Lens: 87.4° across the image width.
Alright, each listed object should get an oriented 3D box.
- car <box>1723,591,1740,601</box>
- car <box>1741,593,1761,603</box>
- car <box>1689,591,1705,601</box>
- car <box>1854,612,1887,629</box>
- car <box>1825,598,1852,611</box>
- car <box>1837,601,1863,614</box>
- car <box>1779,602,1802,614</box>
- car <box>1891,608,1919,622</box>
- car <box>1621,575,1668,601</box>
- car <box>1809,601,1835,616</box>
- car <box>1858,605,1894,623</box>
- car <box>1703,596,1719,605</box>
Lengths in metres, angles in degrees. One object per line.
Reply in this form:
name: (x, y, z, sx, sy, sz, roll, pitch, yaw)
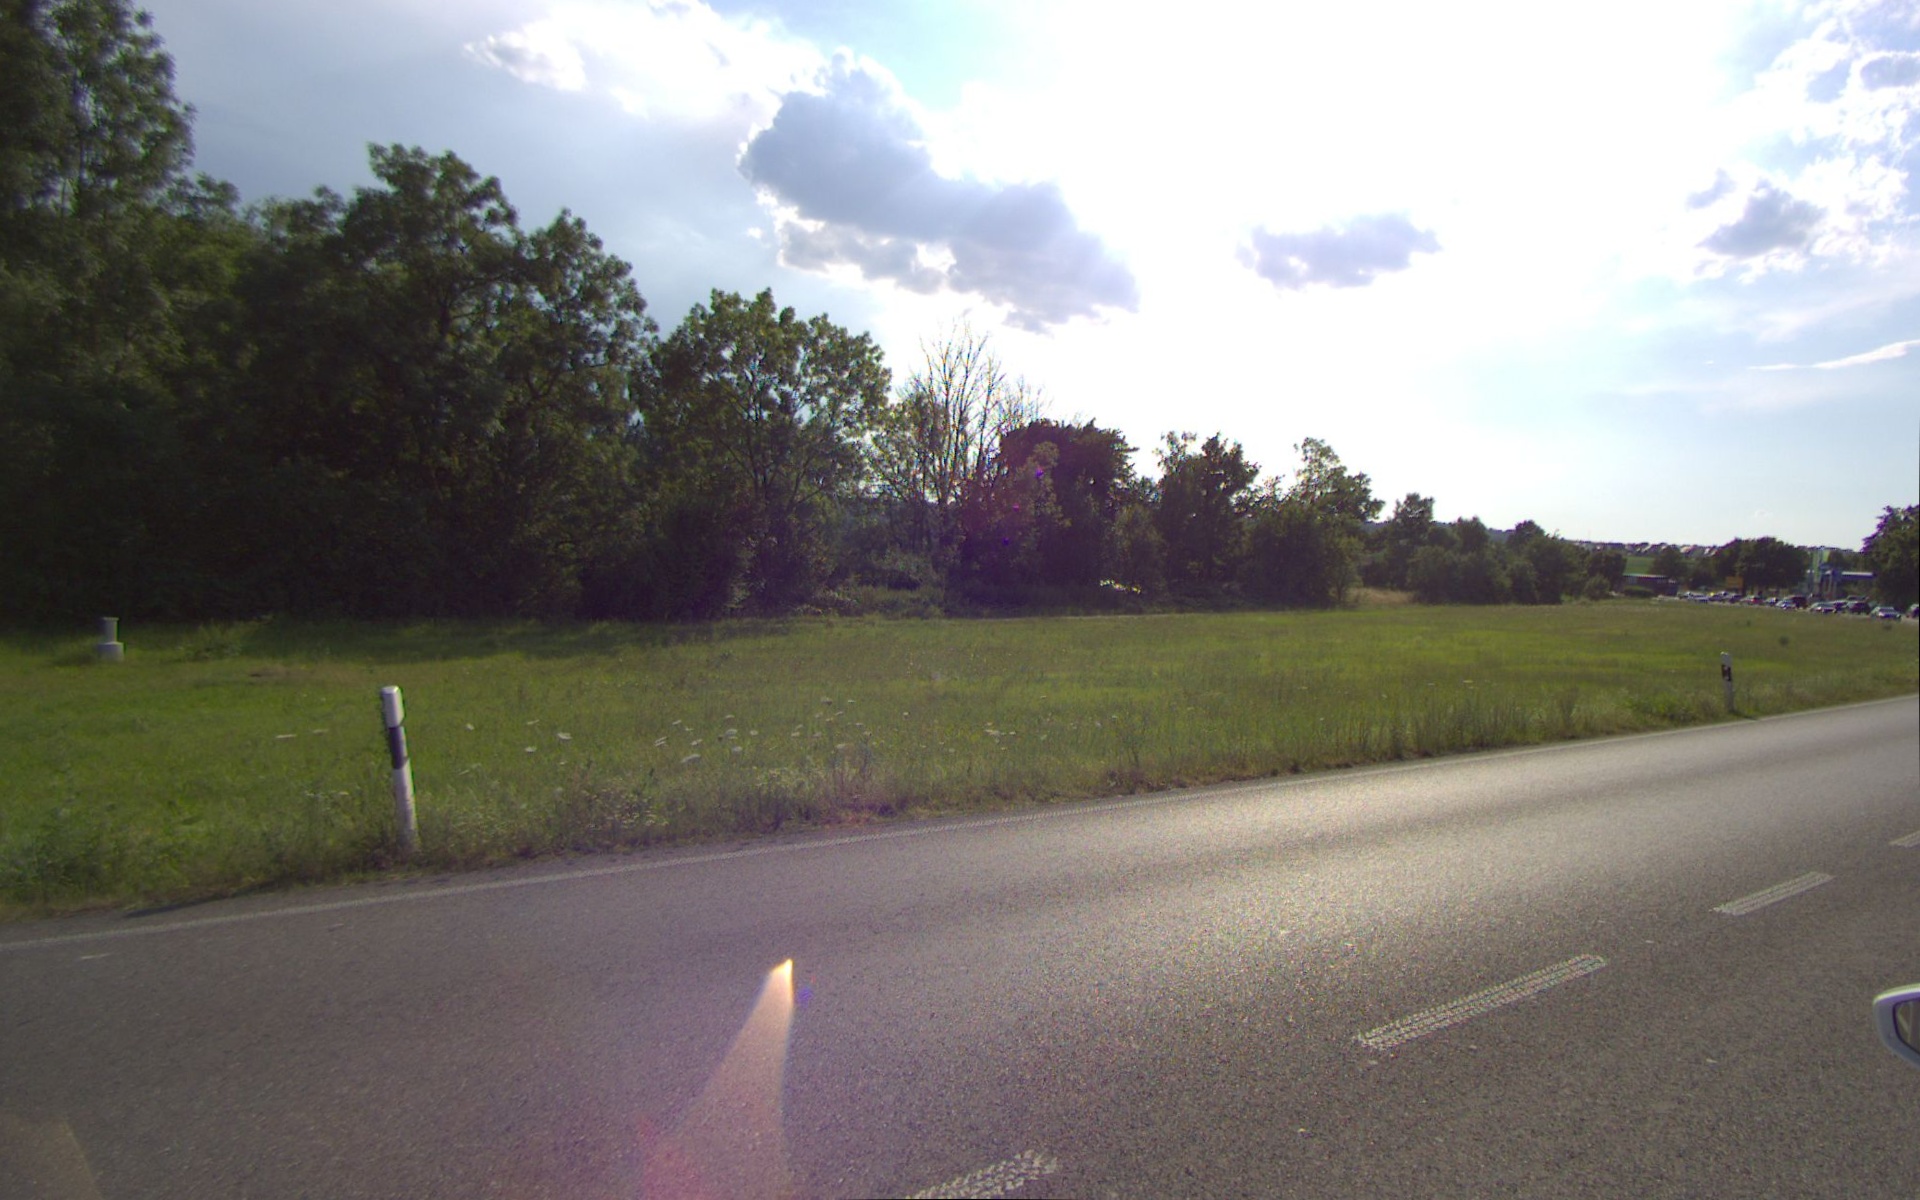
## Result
car: (133.303, -0.678, 173.574, 1.855, 1.621, 3.991, 2, 1, 31)
car: (131.847, -0.338, 167.439, 1.853, 1.621, 3.994, 2, 1, 28)
car: (125.896, -0.663, 171.692, 1.815, 1.678, 3.991, 2, 0, 31)
car: (94.478, 2.109, 104.313, 1.815, 1.678, 3.990, 2, 0, 32)
car: (121.945, 0.617, 139.487, 2.055, 1.621, 3.991, 2, 1, 30)
car: (117.354, 0.921, 132.498, 1.855, 1.621, 3.991, 2, 1, 31)
car: (126.208, 1.223, 152.678, 2.055, 1.621, 3.991, 2, 1, 30)
car: (113.692, 1.773, 120.443, 2.055, 1.621, 3.991, 2, 1, 30)
car: (140.368, -2.479, 206.199, 3.481, 5.127, 13.247, 2, 1, 14)
car: (106.411, 1.025, 123.986, 1.967, 1.748, 4.411, 2, 1, 35)
car: (88.749, 1.353, 97.374, 1.815, 1.678, 3.990, 2, 0, 32)
car: (136.067, 0.108, 181.961, 1.855, 1.621, 3.991, 2, 1, 31)
